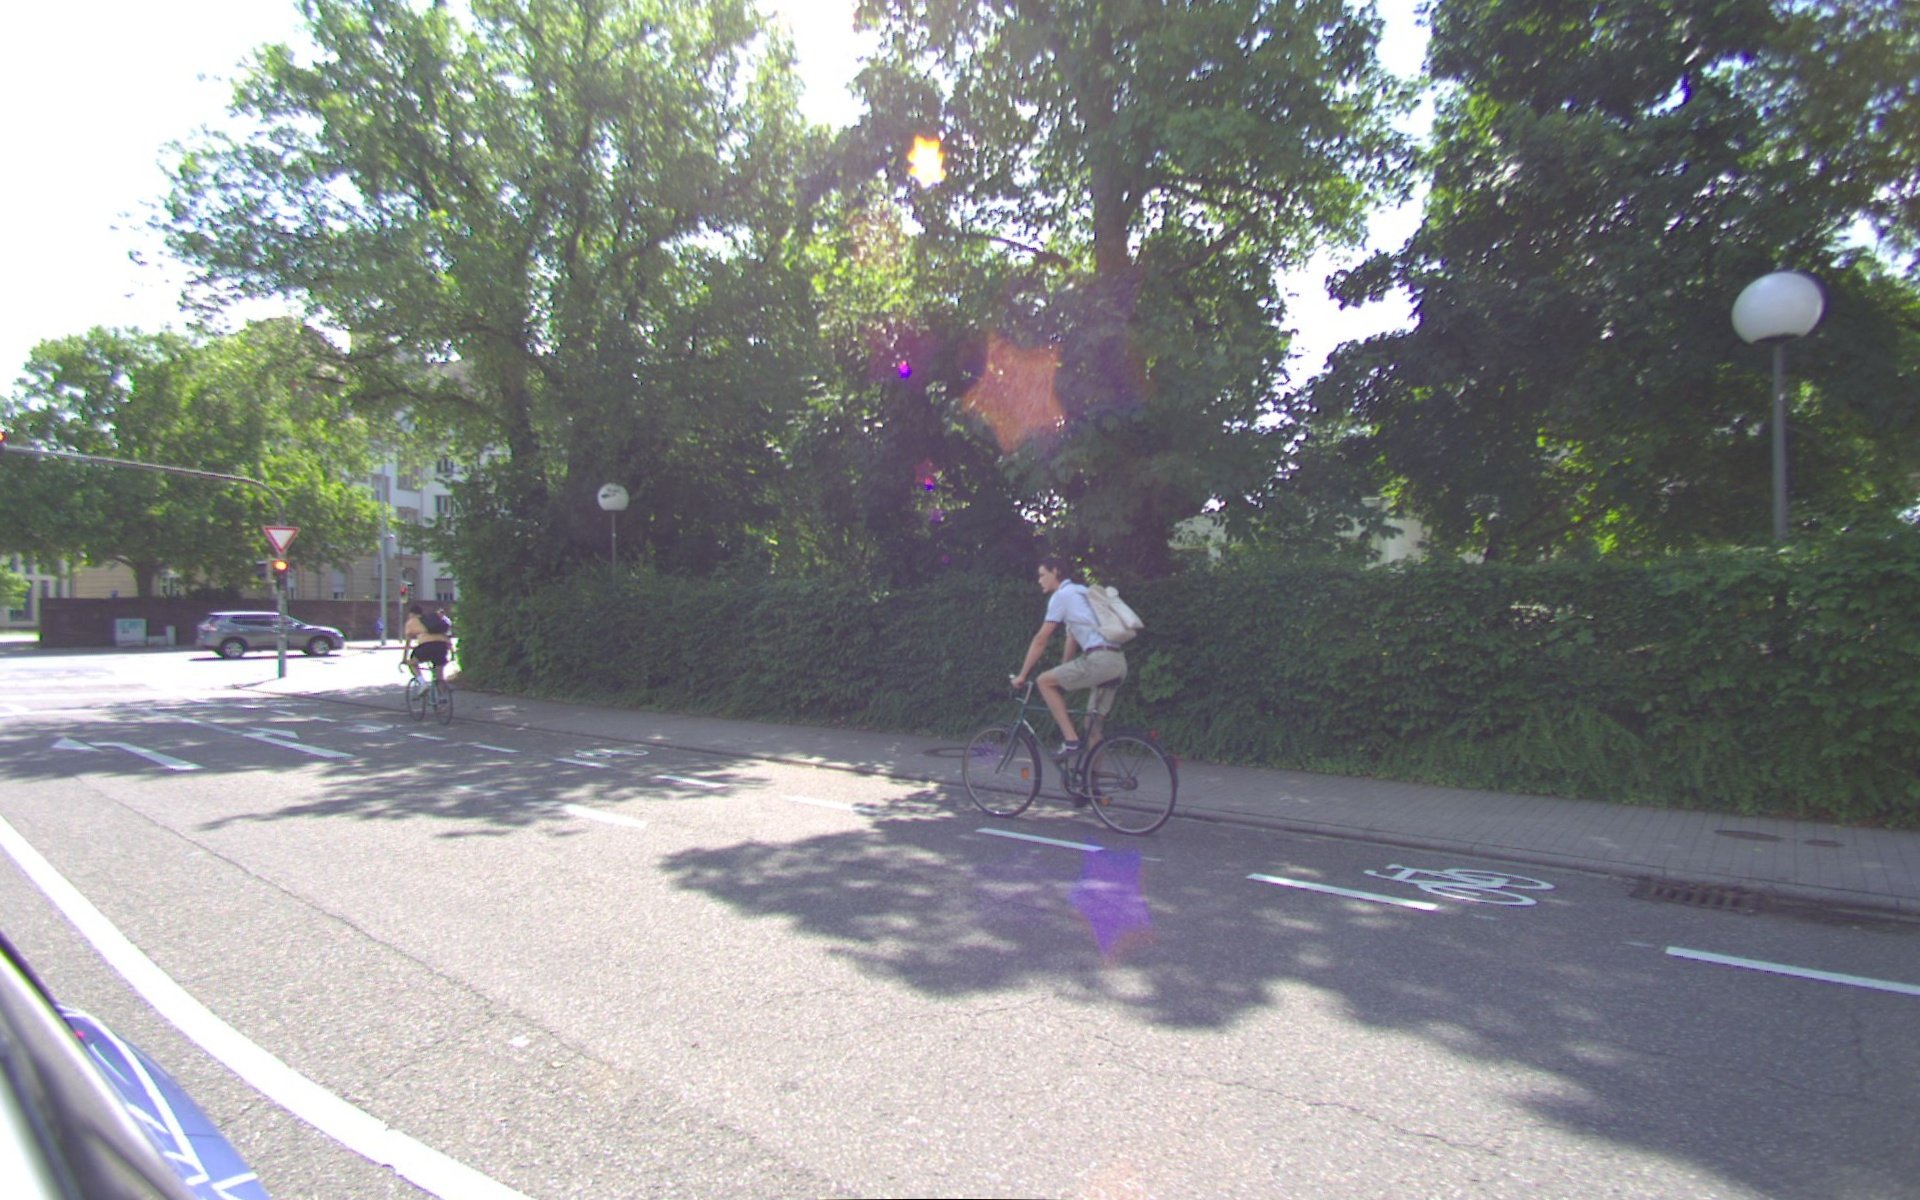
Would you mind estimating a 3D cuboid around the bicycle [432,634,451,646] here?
[{"bbox_3d":[-31.613,2.463,61.724,0.998,0.687,0.407,1,0,16],"label":"bicycle"}]

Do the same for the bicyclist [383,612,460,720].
[{"bbox_3d":[-8.159,0.973,15.328,1.017,1.560,0.685,-1,-2,40],"label":"bicyclist"}]

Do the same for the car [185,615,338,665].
[{"bbox_3d":[-25.734,1.424,37.399,4.411,1.691,1.827,1,-1,-44],"label":"car"}]

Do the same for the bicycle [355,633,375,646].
[{"bbox_3d":[-34.021,2.241,57.849,0.998,0.687,0.407,1,0,16],"label":"bicycle"}]

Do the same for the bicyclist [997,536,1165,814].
[{"bbox_3d":[0.827,0.481,6.949,0.918,1.750,0.685,-1,-2,40],"label":"bicyclist"}]

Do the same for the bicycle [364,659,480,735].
[{"bbox_3d":[-8.180,1.431,15.352,2.208,0.996,0.785,-1,-2,40],"label":"bicycle"}]

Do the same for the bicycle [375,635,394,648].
[{"bbox_3d":[-33.453,2.419,58.824,0.998,0.687,0.407,1,0,16],"label":"bicycle"}]

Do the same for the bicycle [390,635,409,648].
[{"bbox_3d":[-33.011,2.430,59.585,0.998,0.687,0.407,1,0,16],"label":"bicycle"}]

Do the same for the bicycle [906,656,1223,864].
[{"bbox_3d":[0.660,1.018,7.082,2.208,1.180,0.685,-1,-2,40],"label":"bicycle"}]

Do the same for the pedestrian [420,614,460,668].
[{"bbox_3d":[-16.949,1.325,32.980,0.854,1.714,0.918,-3,-3,44],"label":"pedestrian"}]

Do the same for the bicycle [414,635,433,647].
[{"bbox_3d":[-32.128,2.450,60.641,0.998,0.687,0.407,1,0,16],"label":"bicycle"}]
